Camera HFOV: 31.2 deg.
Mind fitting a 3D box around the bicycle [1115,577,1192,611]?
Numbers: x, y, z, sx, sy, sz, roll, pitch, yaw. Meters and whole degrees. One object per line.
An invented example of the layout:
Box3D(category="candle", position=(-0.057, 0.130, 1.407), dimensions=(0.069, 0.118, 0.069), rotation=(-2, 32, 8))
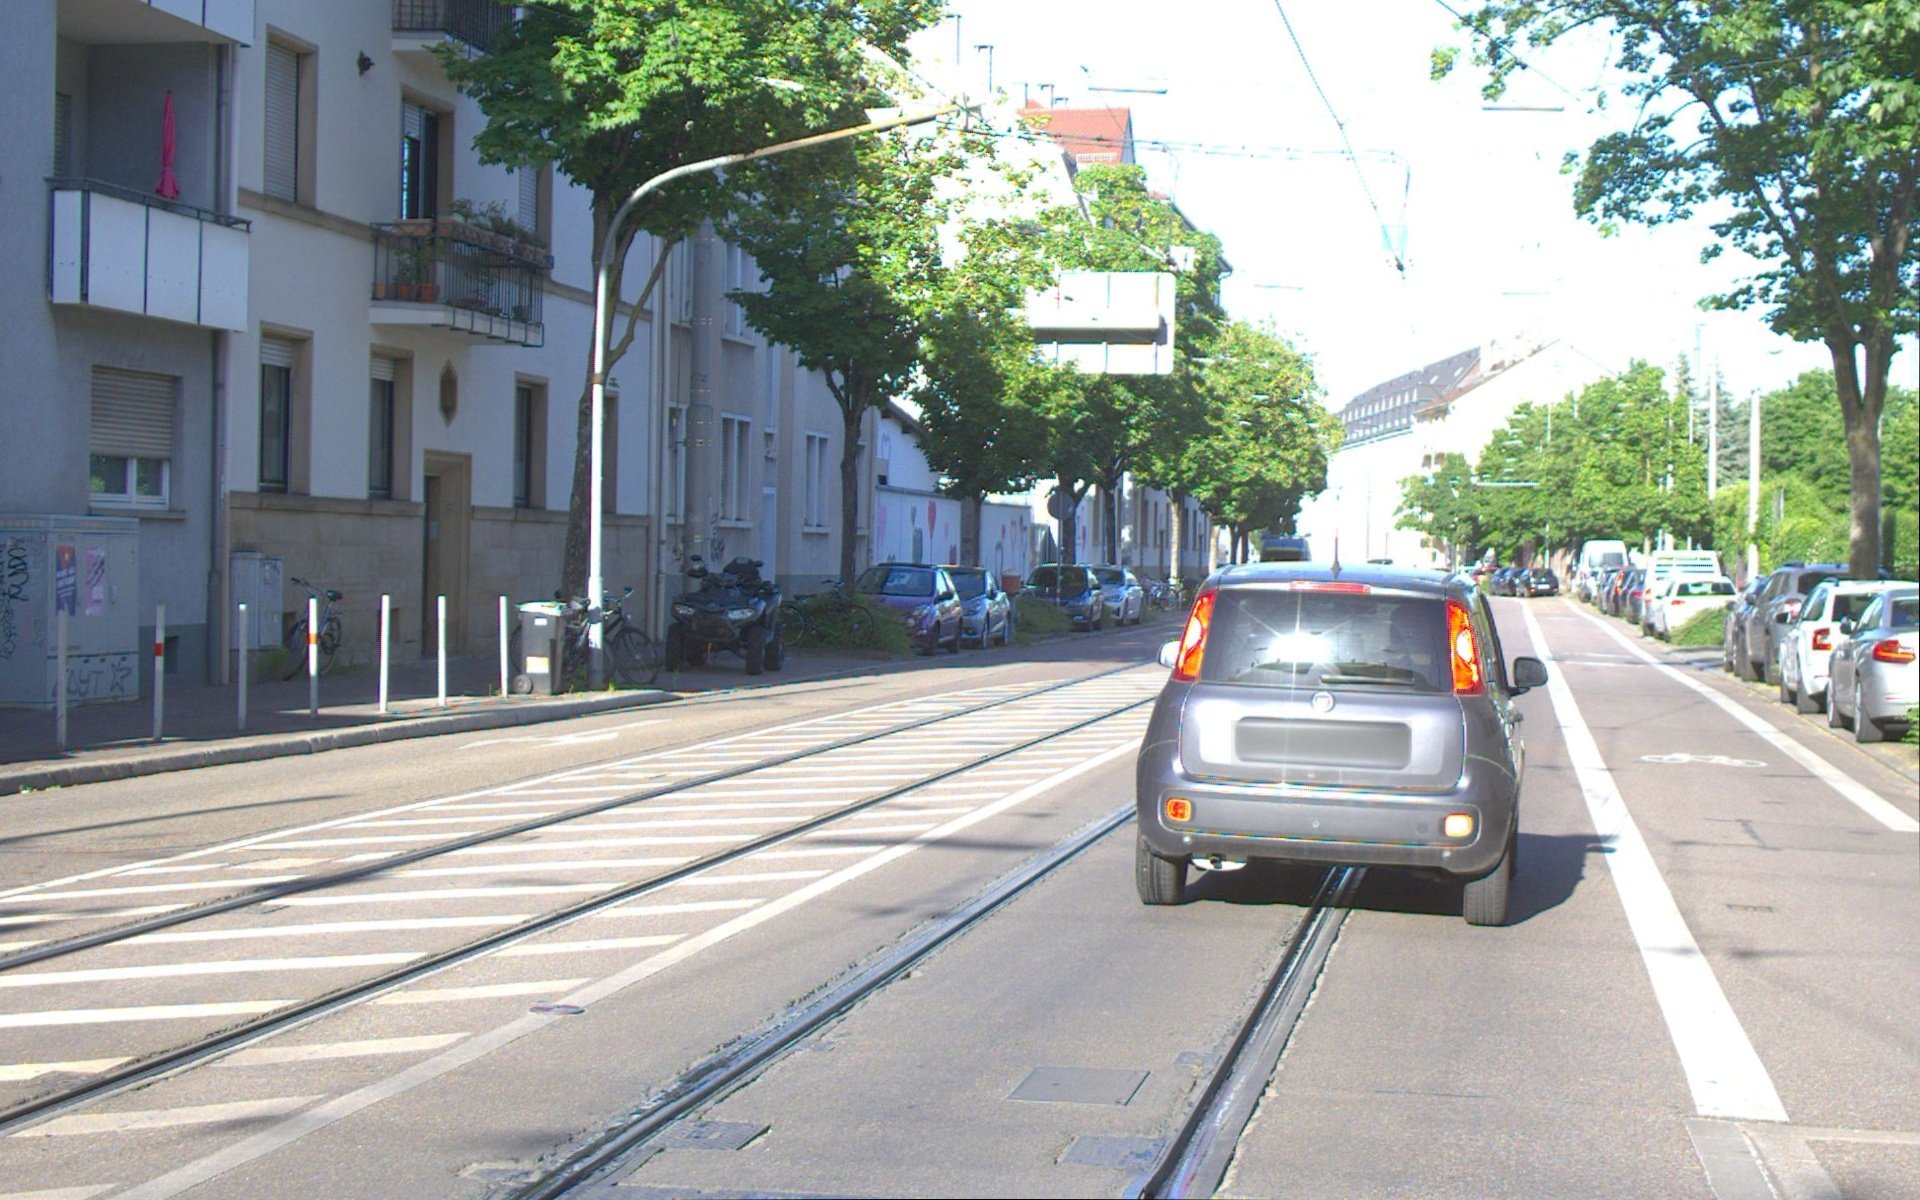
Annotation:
Box3D(category="bicycle", position=(5.641, -0.175, 100.298), dimensions=(2.265, 0.927, 0.789), rotation=(2, 1, 45))

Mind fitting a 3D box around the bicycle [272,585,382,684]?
Box3D(category="bicycle", position=(-6.740, 0.353, 36.700), dimensions=(0.506, 1.003, 2.019), rotation=(1, 1, 9))

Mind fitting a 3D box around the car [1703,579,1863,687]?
Box3D(category="car", position=(12.124, 0.453, 50.867), dimensions=(1.843, 1.478, 4.187), rotation=(1, 1, 7))

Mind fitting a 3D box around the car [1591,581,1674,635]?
Box3D(category="car", position=(18.560, 0.197, 95.049), dimensions=(1.956, 1.415, 4.187), rotation=(1, 1, 7))

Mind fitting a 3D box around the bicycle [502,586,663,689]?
Box3D(category="bicycle", position=(-4.036, 0.404, 36.790), dimensions=(1.607, 1.041, 0.458), rotation=(3, 0, -22))

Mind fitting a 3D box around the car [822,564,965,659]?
Box3D(category="car", position=(-1.058, 0.161, 56.928), dimensions=(1.798, 1.481, 3.999), rotation=(1, 1, 7))

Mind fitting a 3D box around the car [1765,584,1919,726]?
Box3D(category="car", position=(10.069, 0.566, 38.383), dimensions=(1.746, 1.453, 4.617), rotation=(1, 1, 9))

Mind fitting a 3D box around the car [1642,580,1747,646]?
Box3D(category="car", position=(16.288, 0.265, 76.378), dimensions=(1.915, 1.371, 4.187), rotation=(1, 1, 7))

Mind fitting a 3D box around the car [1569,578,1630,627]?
Box3D(category="car", position=(20.354, 0.065, 109.557), dimensions=(1.696, 1.494, 3.999), rotation=(1, 1, 8))

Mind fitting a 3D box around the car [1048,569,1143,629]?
Box3D(category="car", position=(3.361, -0.041, 84.634), dimensions=(1.956, 1.415, 4.187), rotation=(1, 1, 7))

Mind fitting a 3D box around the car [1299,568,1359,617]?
Box3D(category="car", position=(11.722, -0.254, 109.031), dimensions=(1.781, 1.487, 4.187), rotation=(2, 1, 7))

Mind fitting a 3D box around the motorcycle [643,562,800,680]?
Box3D(category="motorcycle", position=(-3.125, 0.253, 45.553), dimensions=(1.458, 1.476, 3.101), rotation=(1, 1, 8))

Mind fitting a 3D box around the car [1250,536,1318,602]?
Box3D(category="car", position=(12.962, -1.246, 137.153), dimensions=(2.334, 2.560, 5.669), rotation=(1, 1, 9))

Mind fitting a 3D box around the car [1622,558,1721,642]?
Box3D(category="car", position=(16.791, -0.017, 81.269), dimensions=(1.956, 1.898, 4.187), rotation=(1, 1, 7))

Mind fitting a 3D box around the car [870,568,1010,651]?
Box3D(category="car", position=(-0.324, 0.141, 62.117), dimensions=(1.956, 1.415, 4.187), rotation=(1, 1, 7))

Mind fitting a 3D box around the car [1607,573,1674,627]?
Box3D(category="car", position=(20.379, -0.004, 103.074), dimensions=(1.696, 1.542, 3.999), rotation=(1, 1, 8))

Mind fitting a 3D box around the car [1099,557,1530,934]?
Box3D(category="car", position=(1.764, 0.596, 16.126), dimensions=(1.732, 1.495, 3.998), rotation=(1, 0, 9))

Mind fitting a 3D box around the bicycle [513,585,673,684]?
Box3D(category="bicycle", position=(-4.118, 0.387, 38.574), dimensions=(1.705, 1.030, 0.444), rotation=(3, 0, -11))

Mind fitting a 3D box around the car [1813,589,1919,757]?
Box3D(category="car", position=(9.216, 0.654, 32.506), dimensions=(1.823, 1.459, 4.155), rotation=(1, 1, 9))

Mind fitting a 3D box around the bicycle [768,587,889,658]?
Box3D(category="bicycle", position=(-2.029, 0.340, 53.066), dimensions=(1.744, 1.020, 0.609), rotation=(3, 0, -11))

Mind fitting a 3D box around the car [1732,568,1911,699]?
Box3D(category="car", position=(11.422, 0.402, 45.816), dimensions=(1.817, 1.634, 4.104), rotation=(1, 1, 7))

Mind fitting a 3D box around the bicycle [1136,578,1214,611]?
Box3D(category="bicycle", position=(6.322, -0.160, 101.011), dimensions=(2.324, 0.927, 0.789), rotation=(2, 1, 45))

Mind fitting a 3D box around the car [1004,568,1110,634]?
Box3D(category="car", position=(2.213, 0.005, 77.416), dimensions=(1.956, 1.415, 4.187), rotation=(1, 1, 7))
